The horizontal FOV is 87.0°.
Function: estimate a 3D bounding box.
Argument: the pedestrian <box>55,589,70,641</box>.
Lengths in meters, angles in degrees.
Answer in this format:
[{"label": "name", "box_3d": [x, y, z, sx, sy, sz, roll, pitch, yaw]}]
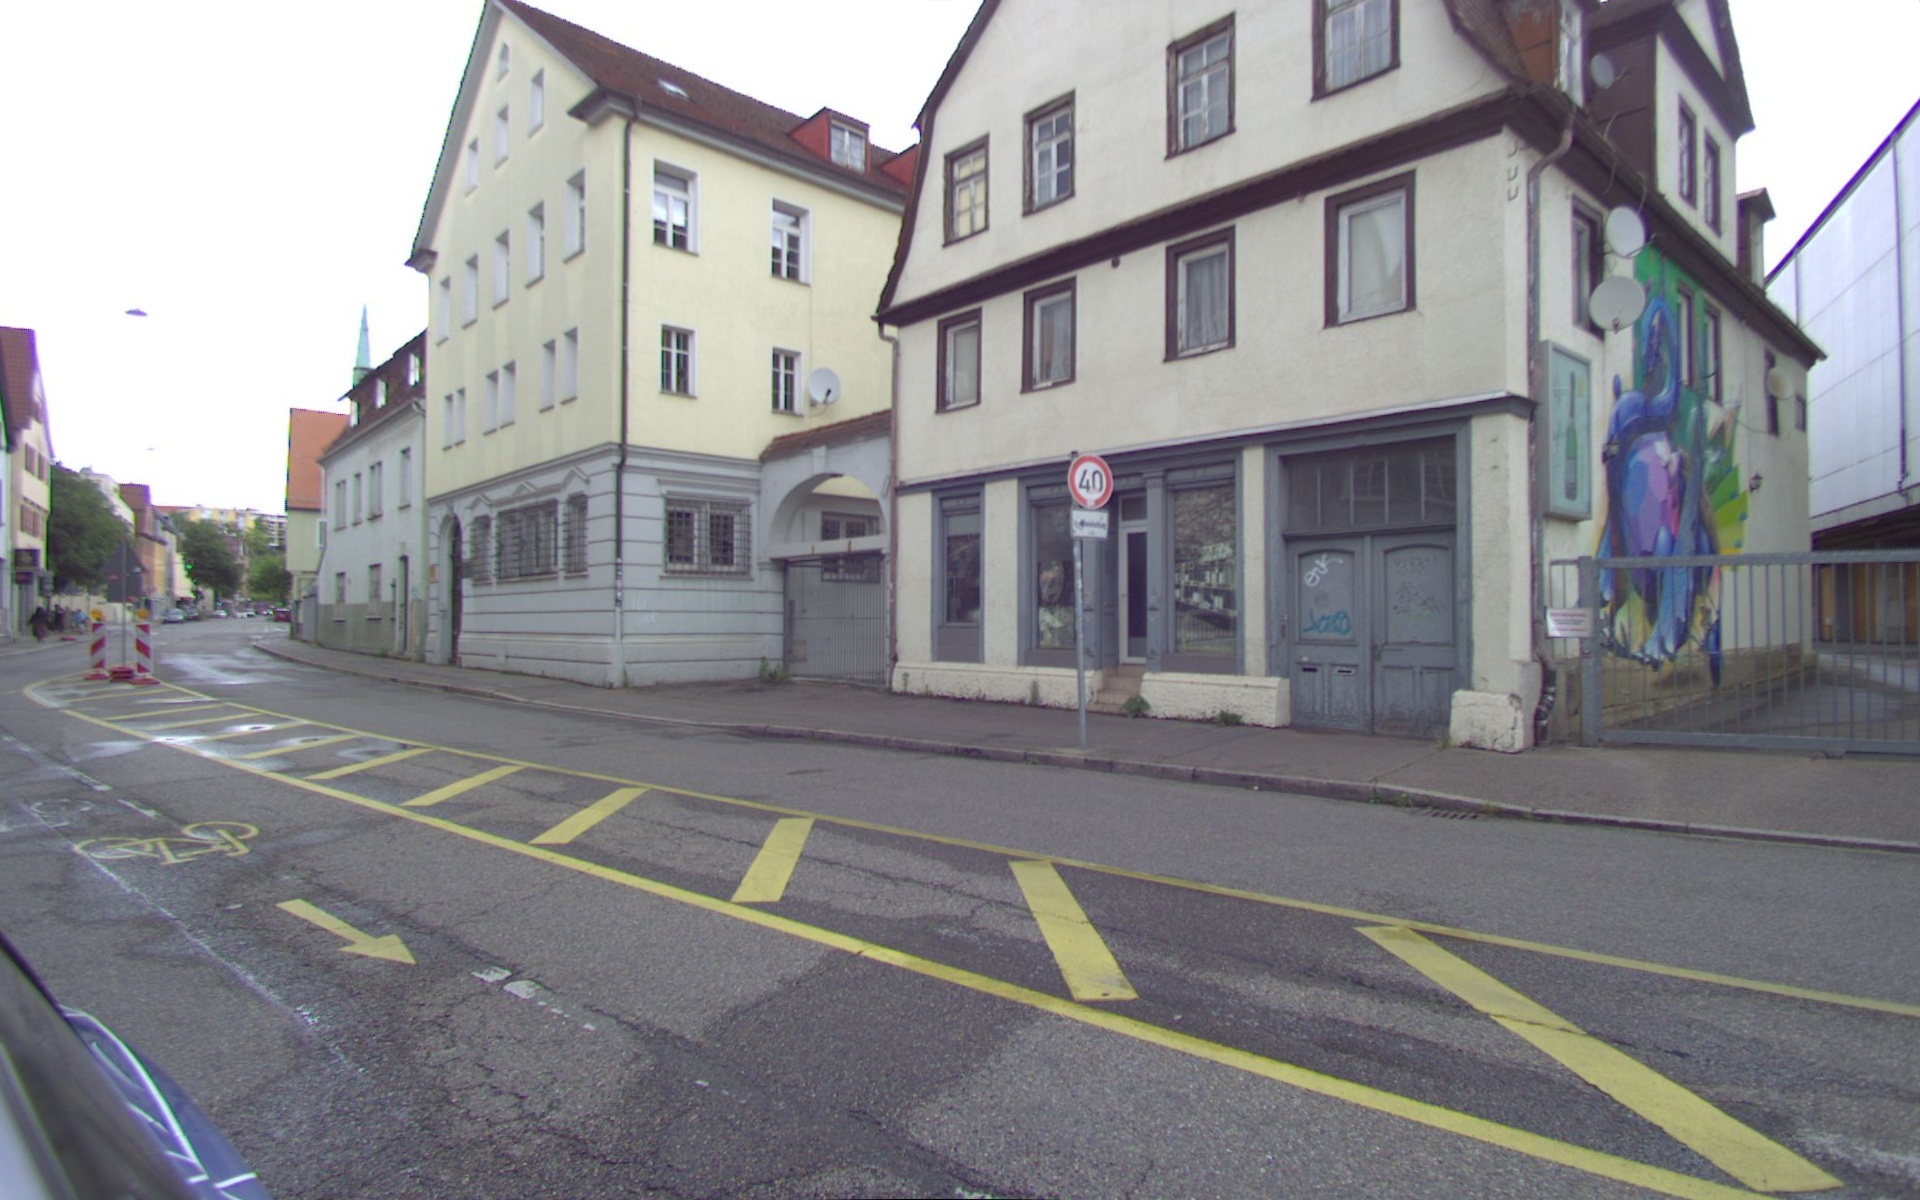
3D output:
[{"label": "pedestrian", "box_3d": [-43.780, 0.739, 49.370, 0.487, 2.547, 0.747, 1, -2, -38]}]

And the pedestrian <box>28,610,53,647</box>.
[{"label": "pedestrian", "box_3d": [-41.418, 1.285, 45.581, 0.714, 1.626, 0.650, 2, -2, -37]}]
